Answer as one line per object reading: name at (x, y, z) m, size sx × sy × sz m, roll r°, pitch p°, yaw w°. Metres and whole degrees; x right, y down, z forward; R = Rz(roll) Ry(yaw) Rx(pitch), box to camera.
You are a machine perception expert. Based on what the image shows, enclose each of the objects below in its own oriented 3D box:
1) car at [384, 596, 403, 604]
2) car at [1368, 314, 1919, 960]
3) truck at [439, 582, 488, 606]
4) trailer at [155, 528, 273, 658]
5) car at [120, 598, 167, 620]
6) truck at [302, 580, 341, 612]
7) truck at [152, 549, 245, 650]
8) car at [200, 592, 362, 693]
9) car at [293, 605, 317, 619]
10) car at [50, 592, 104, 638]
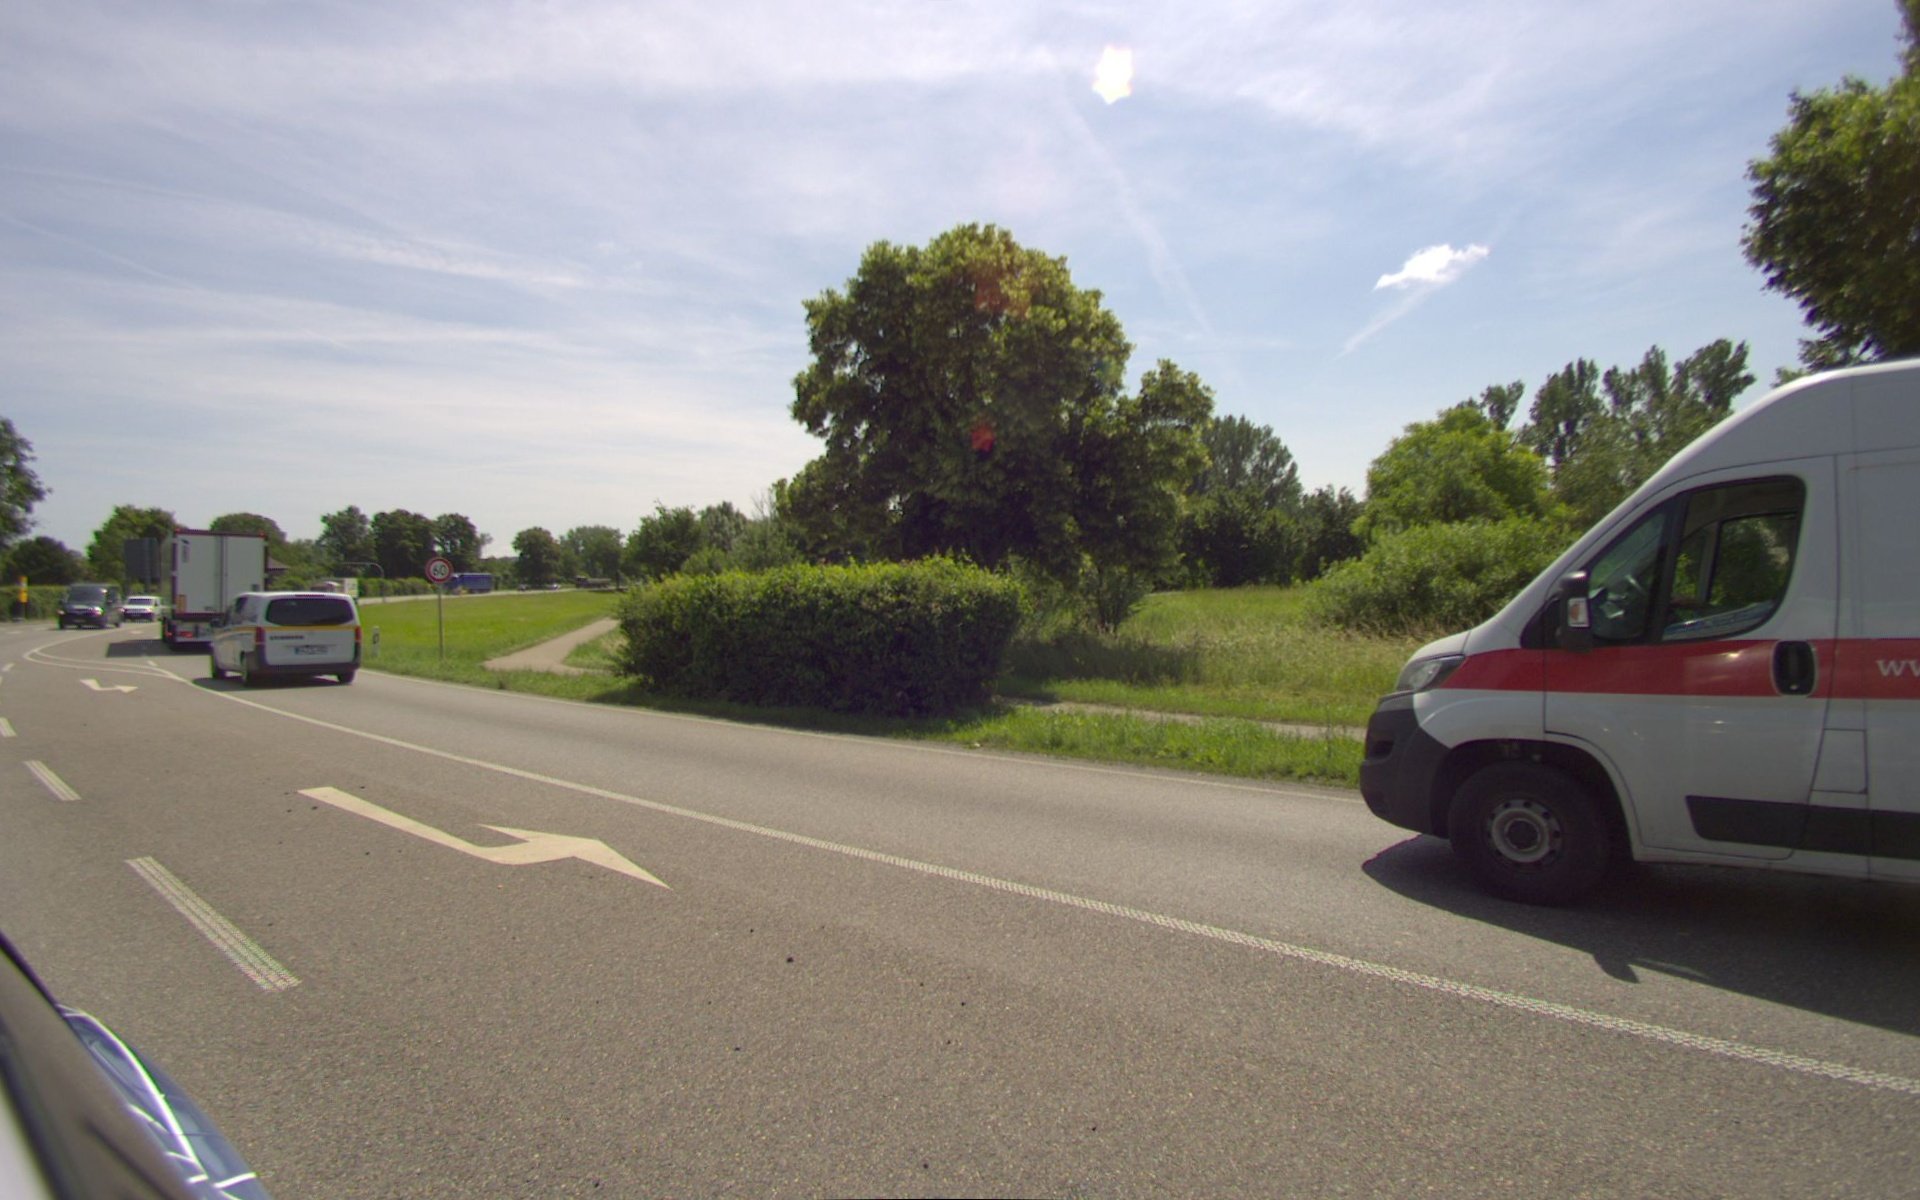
car at (-98.598, -0.010, 176.208) m, size 1.755 × 1.504 × 4.167 m, roll 0°, pitch 0°, yaw -10°
car at (4.765, 0.140, 4.257) m, size 5.266 × 2.471 × 2.029 m, roll -2°, pitch -2°, yaw 42°
truck at (-98.421, -1.264, 200.952) m, size 2.705 × 4.643 × 16.173 m, roll 0°, pitch 1°, yaw -3°
trailer at (-27.862, -0.144, 37.512) m, size 2.743 × 4.133 × 11.679 m, roll 2°, pitch -2°, yaw -40°
car at (-57.907, 0.620, 71.853) m, size 1.753 × 1.504 × 4.171 m, roll 0°, pitch 0°, yaw -26°
truck at (-73.461, -0.428, 116.599) m, size 2.926 × 3.597 × 6.921 m, roll 0°, pitch 0°, yaw -25°
truck at (-32.295, 0.032, 42.836) m, size 2.743 × 3.973 × 5.714 m, roll 2°, pitch -2°, yaw -40°
car at (-14.330, 0.814, 21.228) m, size 5.143 × 1.879 × 1.852 m, roll -1°, pitch -1°, yaw 45°
car at (-85.987, 1.626, 132.842) m, size 1.779 × 1.746 × 4.013 m, roll -2°, pitch -1°, yaw -20°
car at (-49.907, 0.805, 57.168) m, size 4.159 × 2.538 × 1.954 m, roll 0°, pitch 0°, yaw 44°
